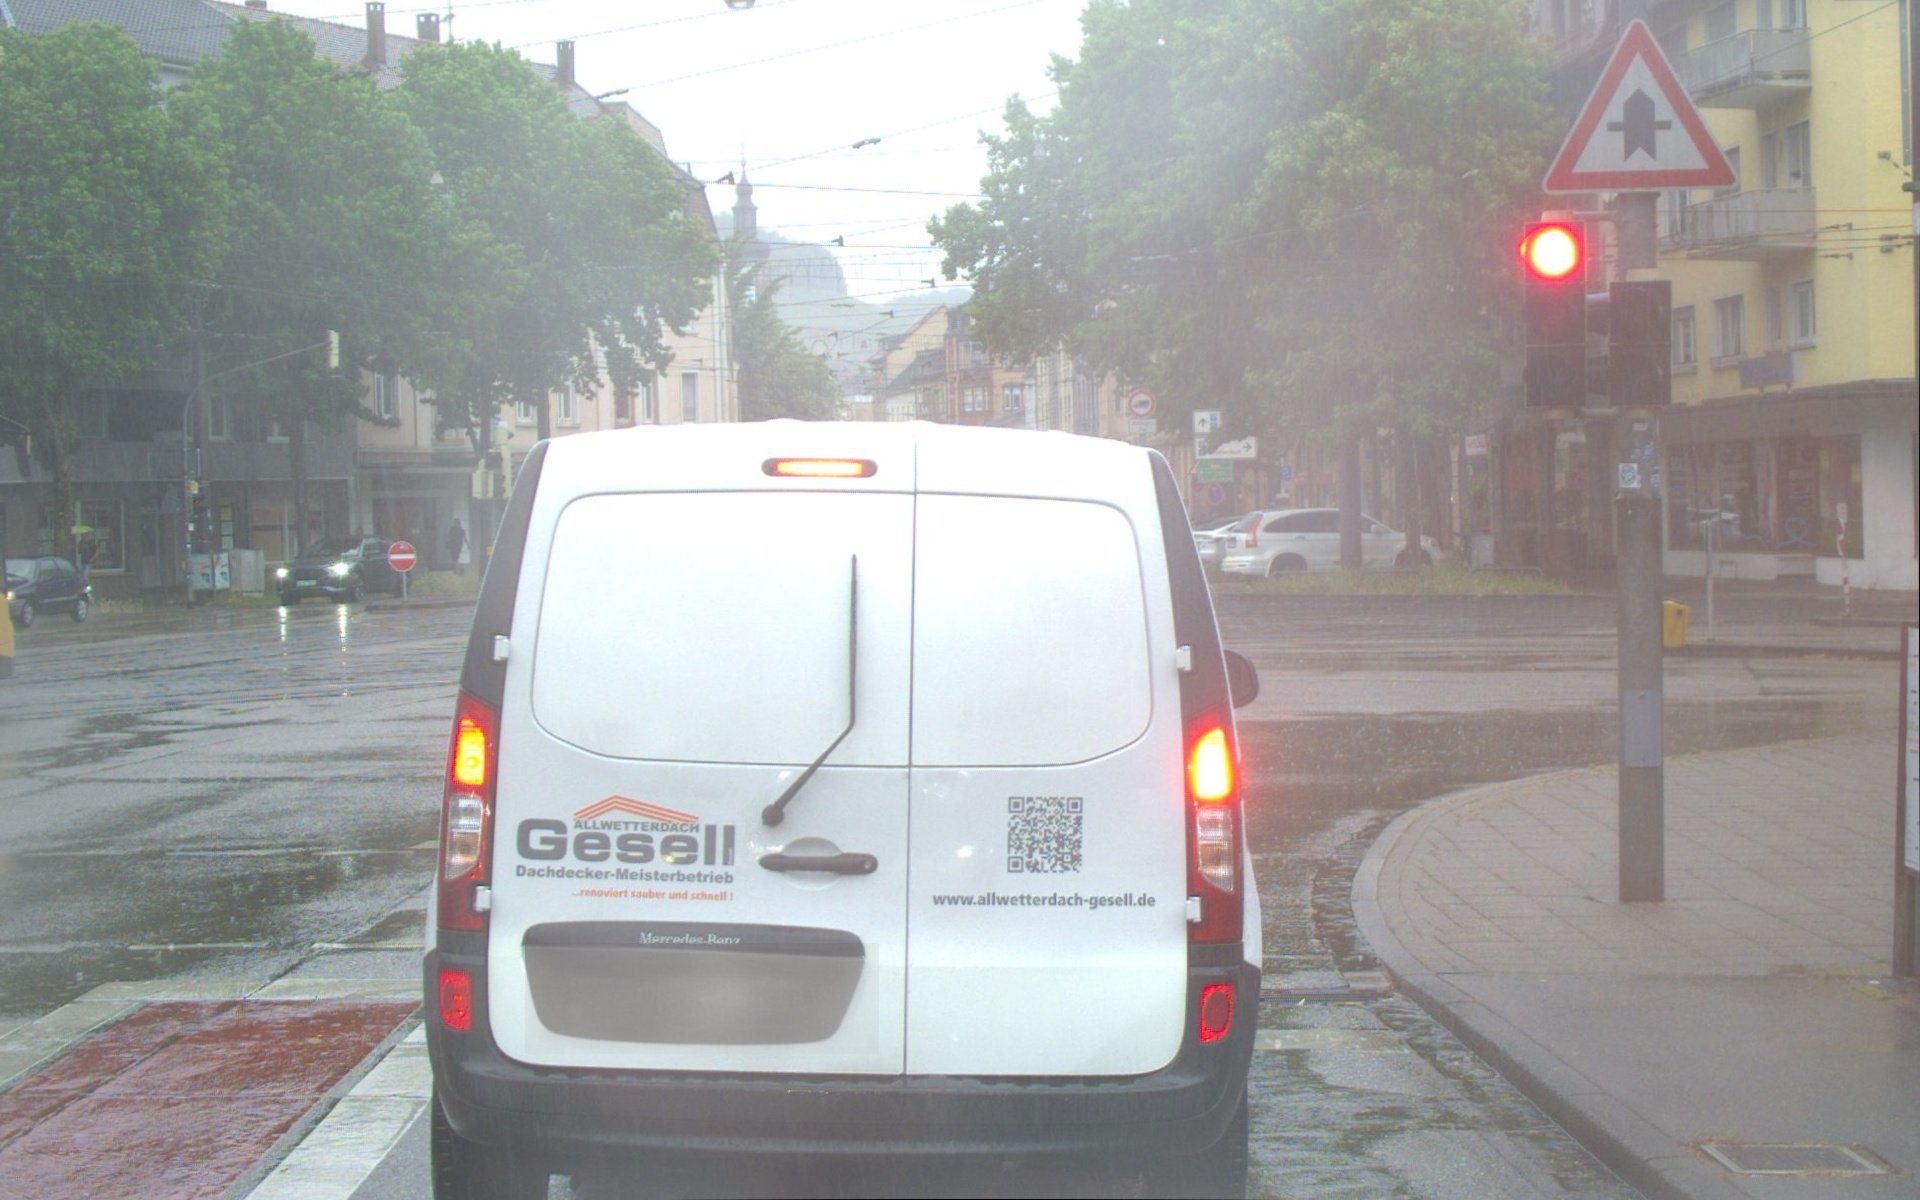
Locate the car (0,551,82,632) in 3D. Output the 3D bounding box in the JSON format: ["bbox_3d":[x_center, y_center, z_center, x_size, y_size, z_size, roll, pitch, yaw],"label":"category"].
[{"bbox_3d":[-18.726,-0.183,67.524,1.993,1.450,4.001,-1,2,-1],"label":"car"}]

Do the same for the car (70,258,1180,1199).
[{"bbox_3d":[-0.663,0.332,9.028,2.100,2.005,4.963,0,1,-1],"label":"car"}]

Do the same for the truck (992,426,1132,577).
[{"bbox_3d":[3.503,-3.433,123.312,3.469,5.070,15.309,0,1,-4],"label":"truck"}]

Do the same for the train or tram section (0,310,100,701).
[{"bbox_3d":[-11.626,-0.798,24.544,3.543,3.401,15.494,1,1,15],"label":"train or tram section"}]

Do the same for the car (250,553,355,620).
[{"bbox_3d":[-15.686,-0.345,82.179,1.783,1.546,4.000,0,1,-1],"label":"car"}]

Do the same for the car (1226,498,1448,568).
[{"bbox_3d":[7.542,-1.347,68.941,4.165,1.334,1.521,-1,2,-7],"label":"car"}]

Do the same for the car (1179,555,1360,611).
[{"bbox_3d":[6.328,-0.350,70.505,3.441,1.126,1.472,0,1,-8],"label":"car"}]
